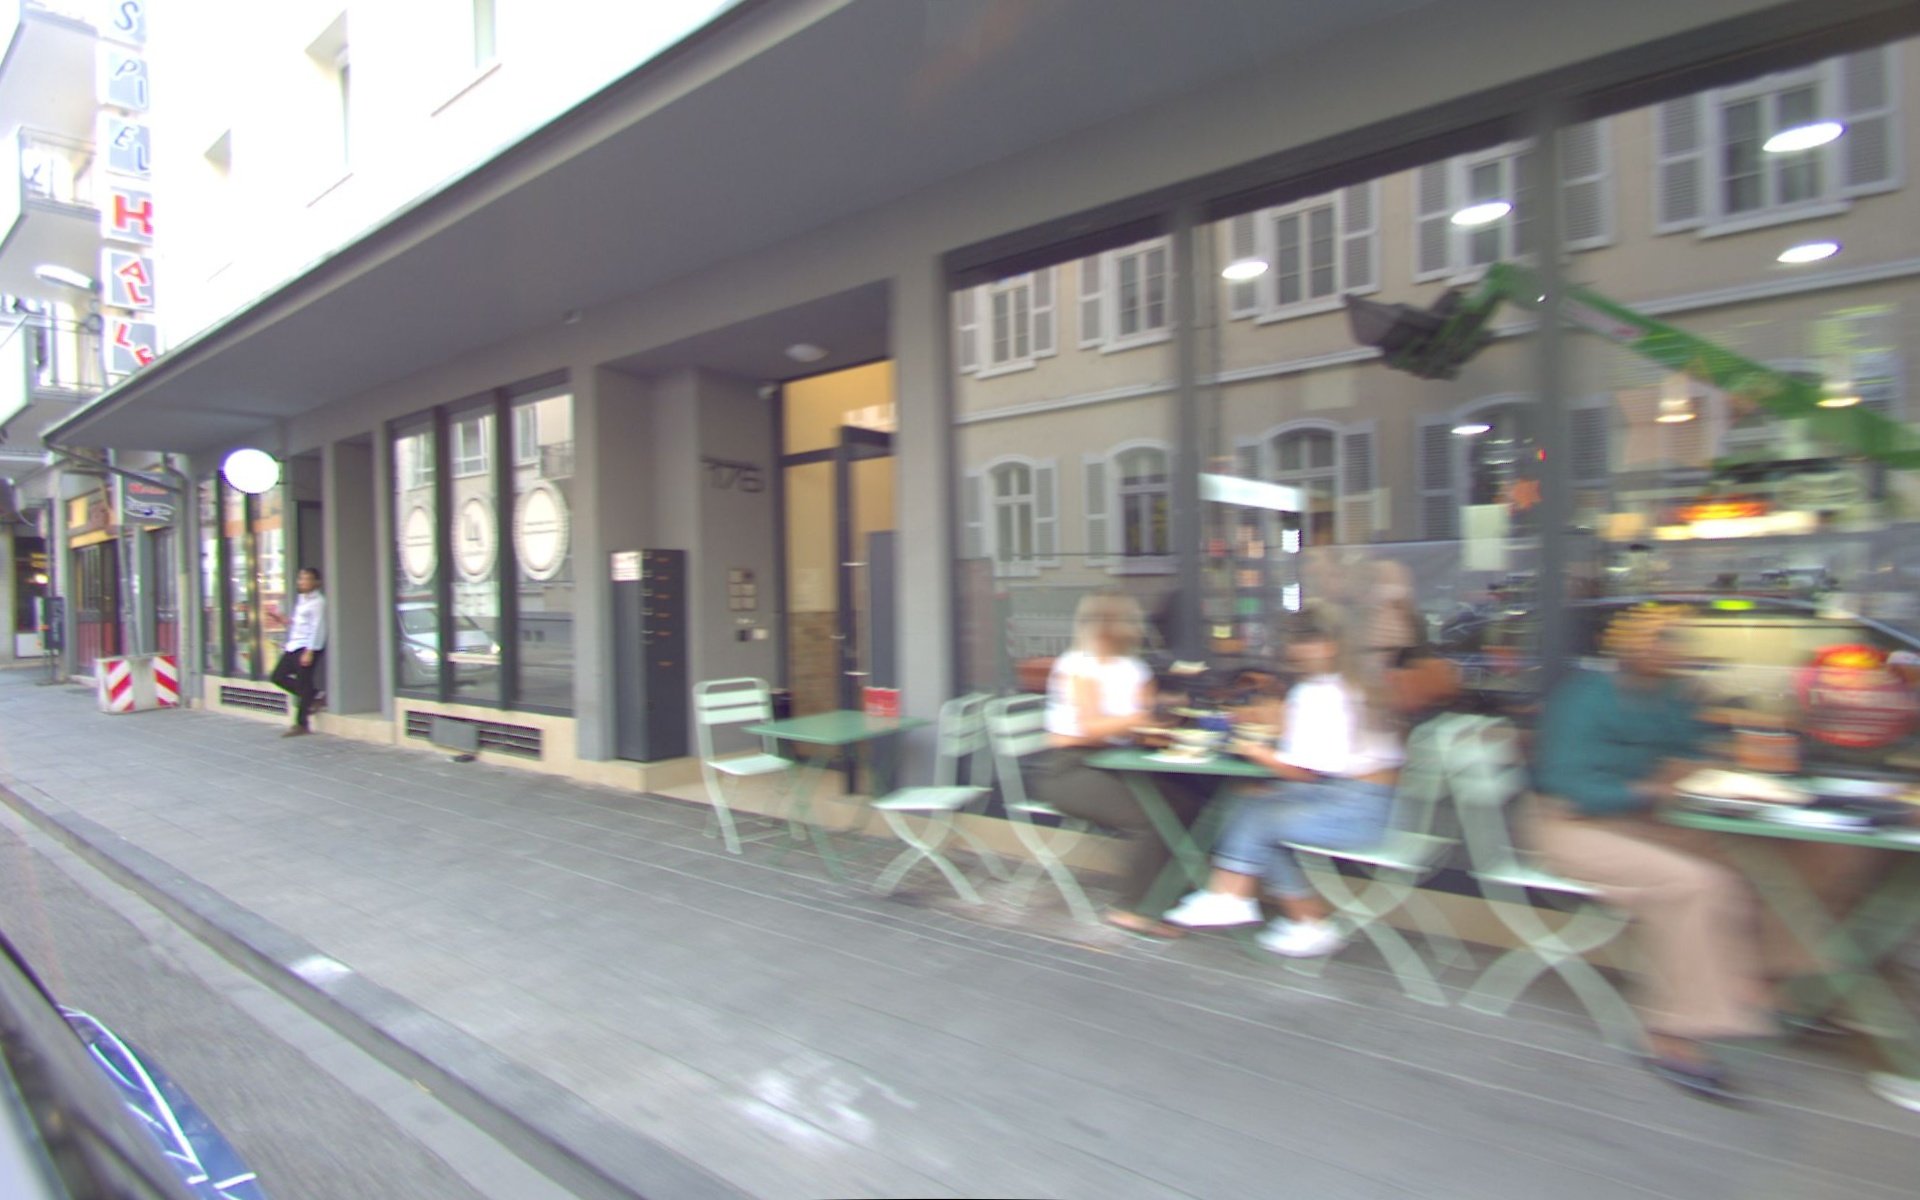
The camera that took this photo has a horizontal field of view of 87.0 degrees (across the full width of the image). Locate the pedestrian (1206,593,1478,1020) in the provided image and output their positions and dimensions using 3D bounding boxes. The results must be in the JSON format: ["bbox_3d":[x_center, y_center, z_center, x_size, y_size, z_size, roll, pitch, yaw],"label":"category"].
[{"bbox_3d":[1.334,0.638,3.534,0.713,1.285,0.567,-1,2,39],"label":"pedestrian"}]

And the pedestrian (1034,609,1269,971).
[{"bbox_3d":[0.776,0.695,4.101,0.713,1.285,0.567,-1,2,39],"label":"pedestrian"}]

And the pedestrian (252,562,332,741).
[{"bbox_3d":[-7.159,0.538,10.846,0.561,1.848,0.526,-1,-1,33],"label":"pedestrian"}]

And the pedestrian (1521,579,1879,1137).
[{"bbox_3d":[2.066,0.604,2.851,0.713,1.285,0.695,-1,2,39],"label":"pedestrian"}]

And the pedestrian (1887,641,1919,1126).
[{"bbox_3d":[2.729,0.683,2.412,0.713,1.122,0.567,-1,2,39],"label":"pedestrian"}]
